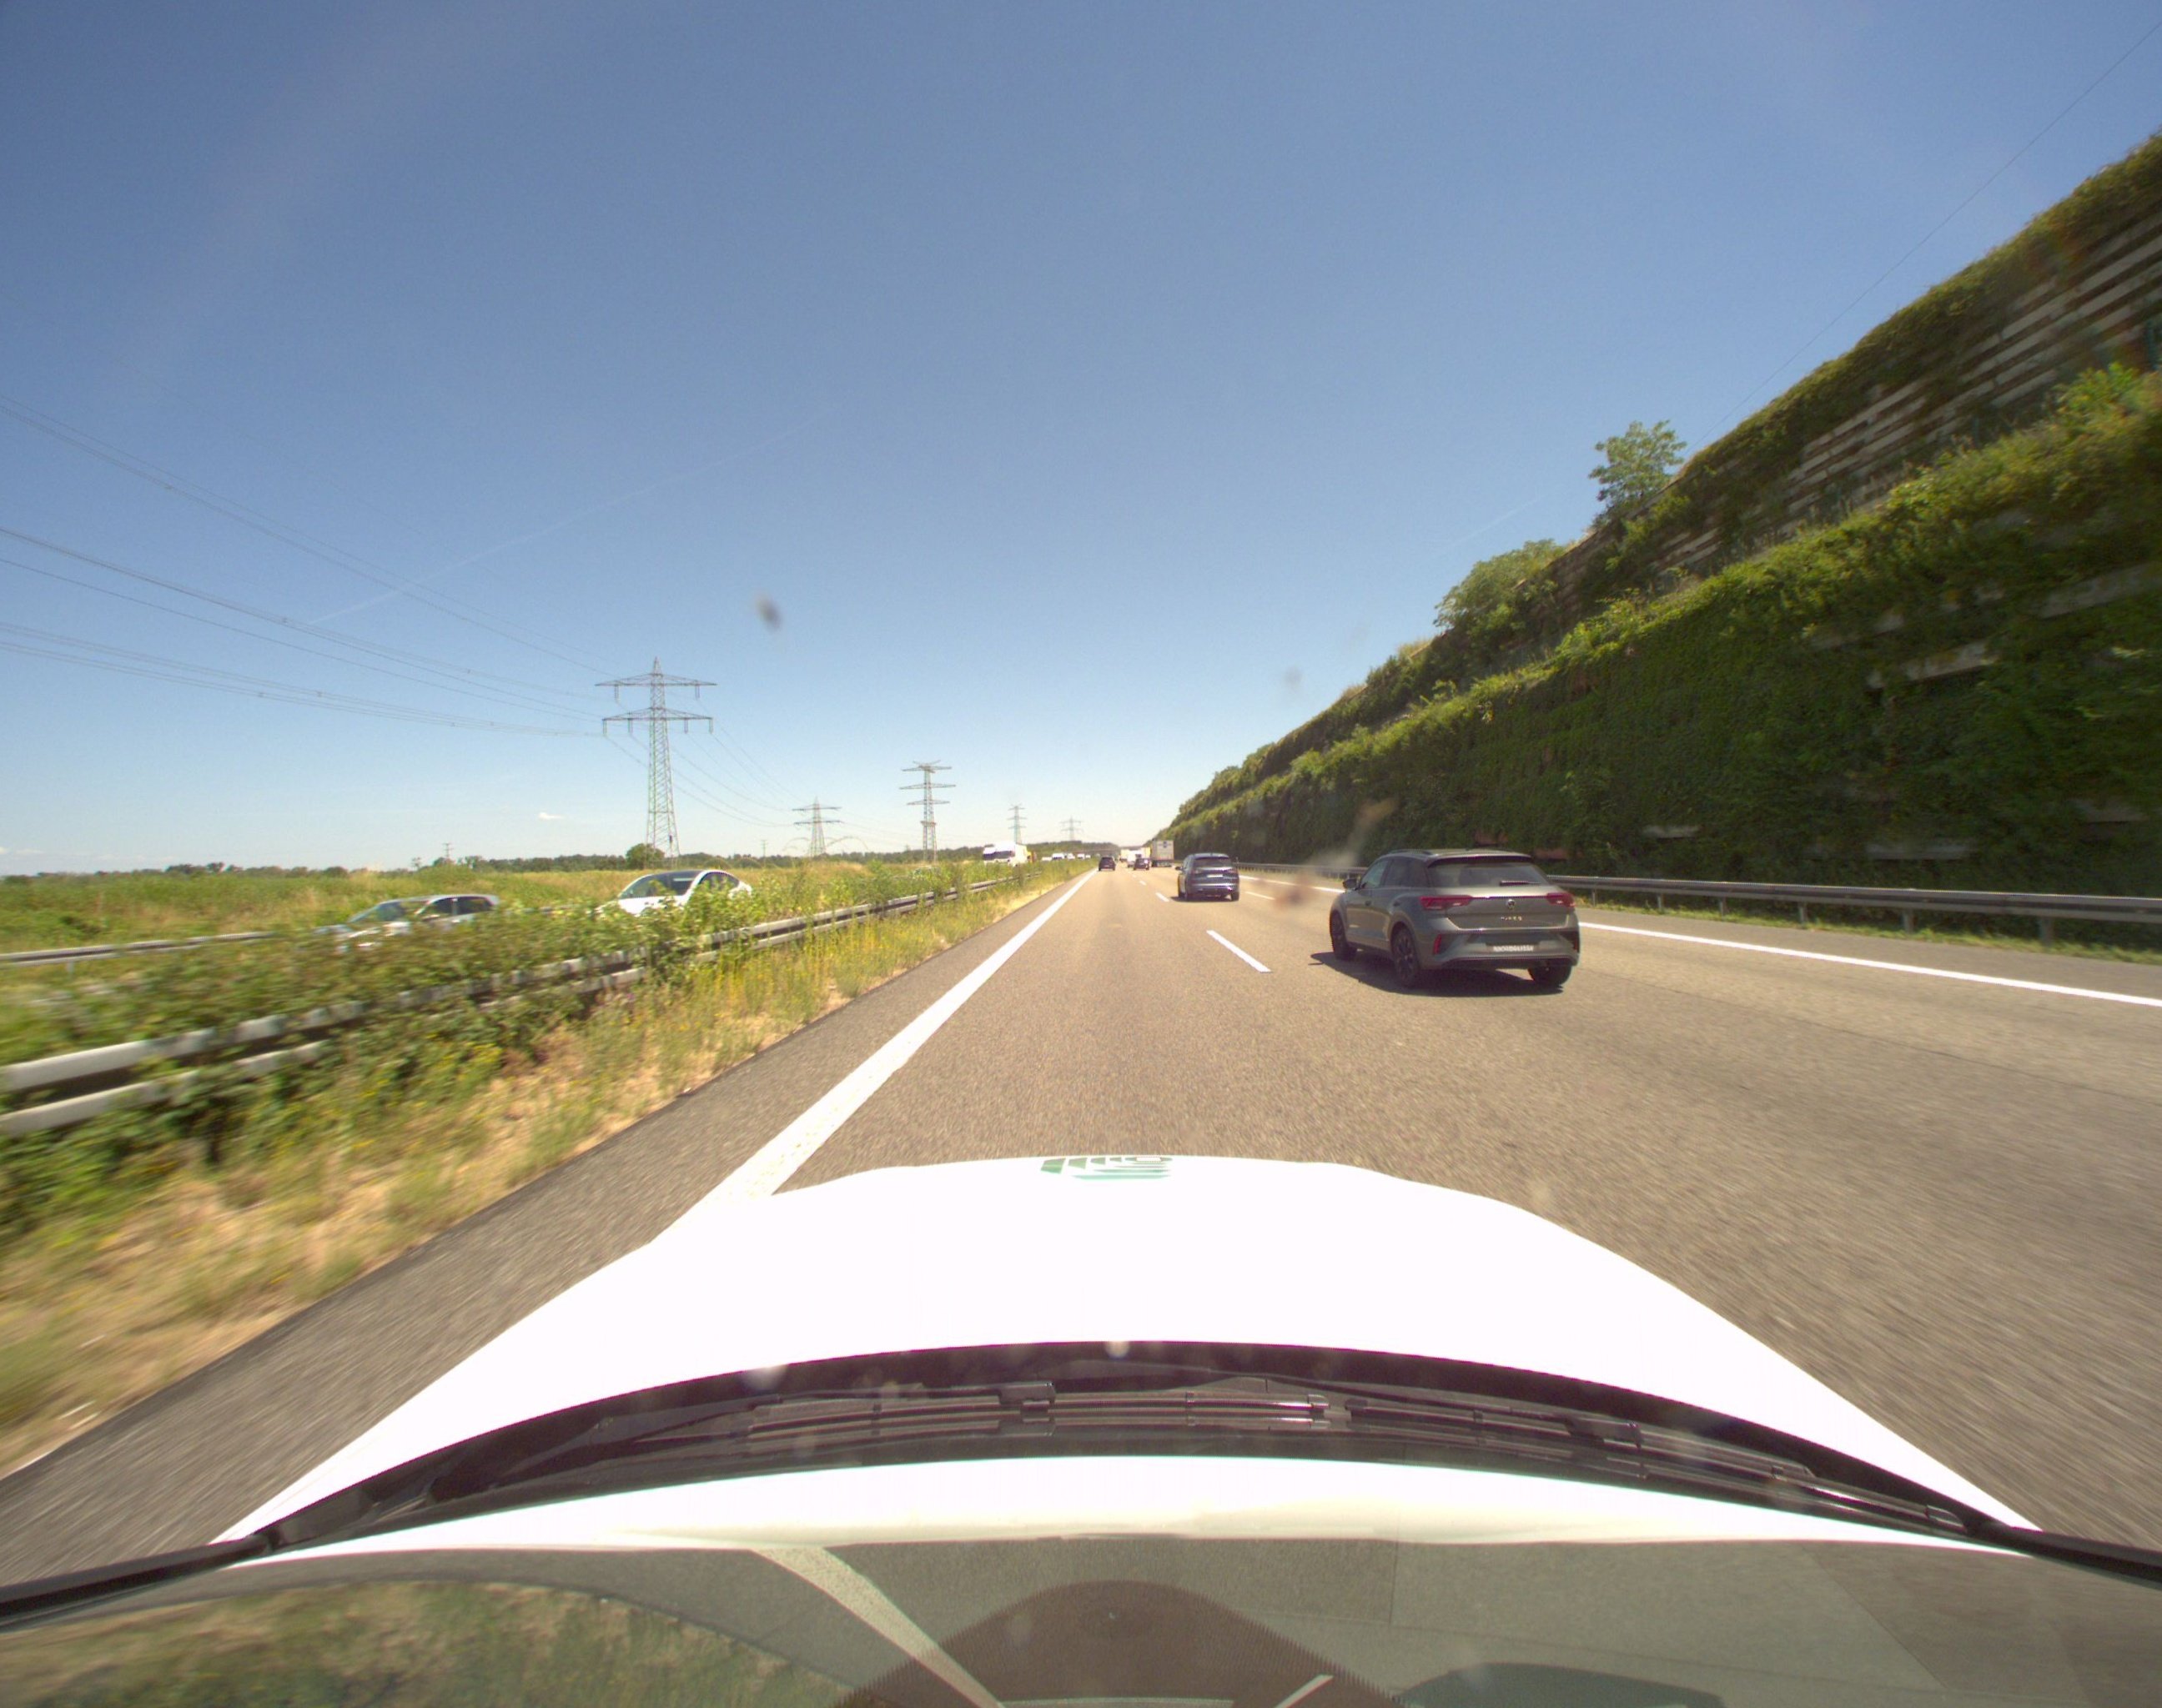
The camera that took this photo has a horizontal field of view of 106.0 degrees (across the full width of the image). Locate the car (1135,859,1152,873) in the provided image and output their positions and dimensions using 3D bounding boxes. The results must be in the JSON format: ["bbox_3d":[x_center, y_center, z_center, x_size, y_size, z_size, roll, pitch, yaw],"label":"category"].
[{"bbox_3d":[7.523,1.456,98.042,1.822,1.525,4.003,-2,0,3],"label":"car"}]

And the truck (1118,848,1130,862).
[{"bbox_3d":[13.450,0.253,254.032,3.396,4.280,10.613,-2,0,2],"label":"truck"}]

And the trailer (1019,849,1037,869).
[{"bbox_3d":[-11.285,1.122,172.999,2.726,4.045,9.428,-2,0,2],"label":"trailer"}]

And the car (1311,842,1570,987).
[{"bbox_3d":[4.478,0.674,10.874,1.743,1.525,3.996,-2,0,1],"label":"car"}]

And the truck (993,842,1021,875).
[{"bbox_3d":[-9.441,0.564,104.771,2.795,4.158,5.572,-1,0,2],"label":"truck"}]

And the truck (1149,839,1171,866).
[{"bbox_3d":[12.808,-0.282,132.407,3.124,4.141,5.506,-3,0,2],"label":"truck"}]

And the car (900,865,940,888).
[{"bbox_3d":[-11.218,1.560,57.157,1.805,1.480,4.002,-3,0,2],"label":"car"}]

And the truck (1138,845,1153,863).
[{"bbox_3d":[15.921,0.074,202.097,3.107,4.280,11.940,-2,0,2],"label":"truck"}]

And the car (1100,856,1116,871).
[{"bbox_3d":[3.228,1.079,97.308,1.823,1.670,4.001,-2,0,2],"label":"car"}]

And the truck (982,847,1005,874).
[{"bbox_3d":[-12.931,0.919,121.111,2.767,3.853,5.569,-1,0,0],"label":"truck"}]

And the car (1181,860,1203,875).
[{"bbox_3d":[11.323,1.391,83.386,1.678,1.428,4.454,-1,0,1],"label":"car"}]

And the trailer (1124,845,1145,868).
[{"bbox_3d":[8.161,0.364,125.244,2.601,3.213,9.956,-3,0,2],"label":"trailer"}]

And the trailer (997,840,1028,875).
[{"bbox_3d":[-9.259,0.520,111.868,2.760,4.349,14.241,-3,0,1],"label":"trailer"}]

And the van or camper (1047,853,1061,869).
[{"bbox_3d":[-4.507,1.205,138.279,1.986,2.582,6.287,-1,0,1],"label":"van or camper"}]

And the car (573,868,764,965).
[{"bbox_3d":[-8.528,1.196,17.313,1.806,1.684,4.270,-3,0,0],"label":"car"}]

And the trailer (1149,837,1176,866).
[{"bbox_3d":[12.496,-0.286,125.611,3.171,4.121,13.438,-3,0,2],"label":"trailer"}]

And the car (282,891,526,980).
[{"bbox_3d":[-14.138,1.618,17.390,1.589,1.434,4.270,-3,0,0],"label":"car"}]

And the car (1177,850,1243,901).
[{"bbox_3d":[4.513,0.724,29.045,1.787,1.653,4.140,-1,0,2],"label":"car"}]
